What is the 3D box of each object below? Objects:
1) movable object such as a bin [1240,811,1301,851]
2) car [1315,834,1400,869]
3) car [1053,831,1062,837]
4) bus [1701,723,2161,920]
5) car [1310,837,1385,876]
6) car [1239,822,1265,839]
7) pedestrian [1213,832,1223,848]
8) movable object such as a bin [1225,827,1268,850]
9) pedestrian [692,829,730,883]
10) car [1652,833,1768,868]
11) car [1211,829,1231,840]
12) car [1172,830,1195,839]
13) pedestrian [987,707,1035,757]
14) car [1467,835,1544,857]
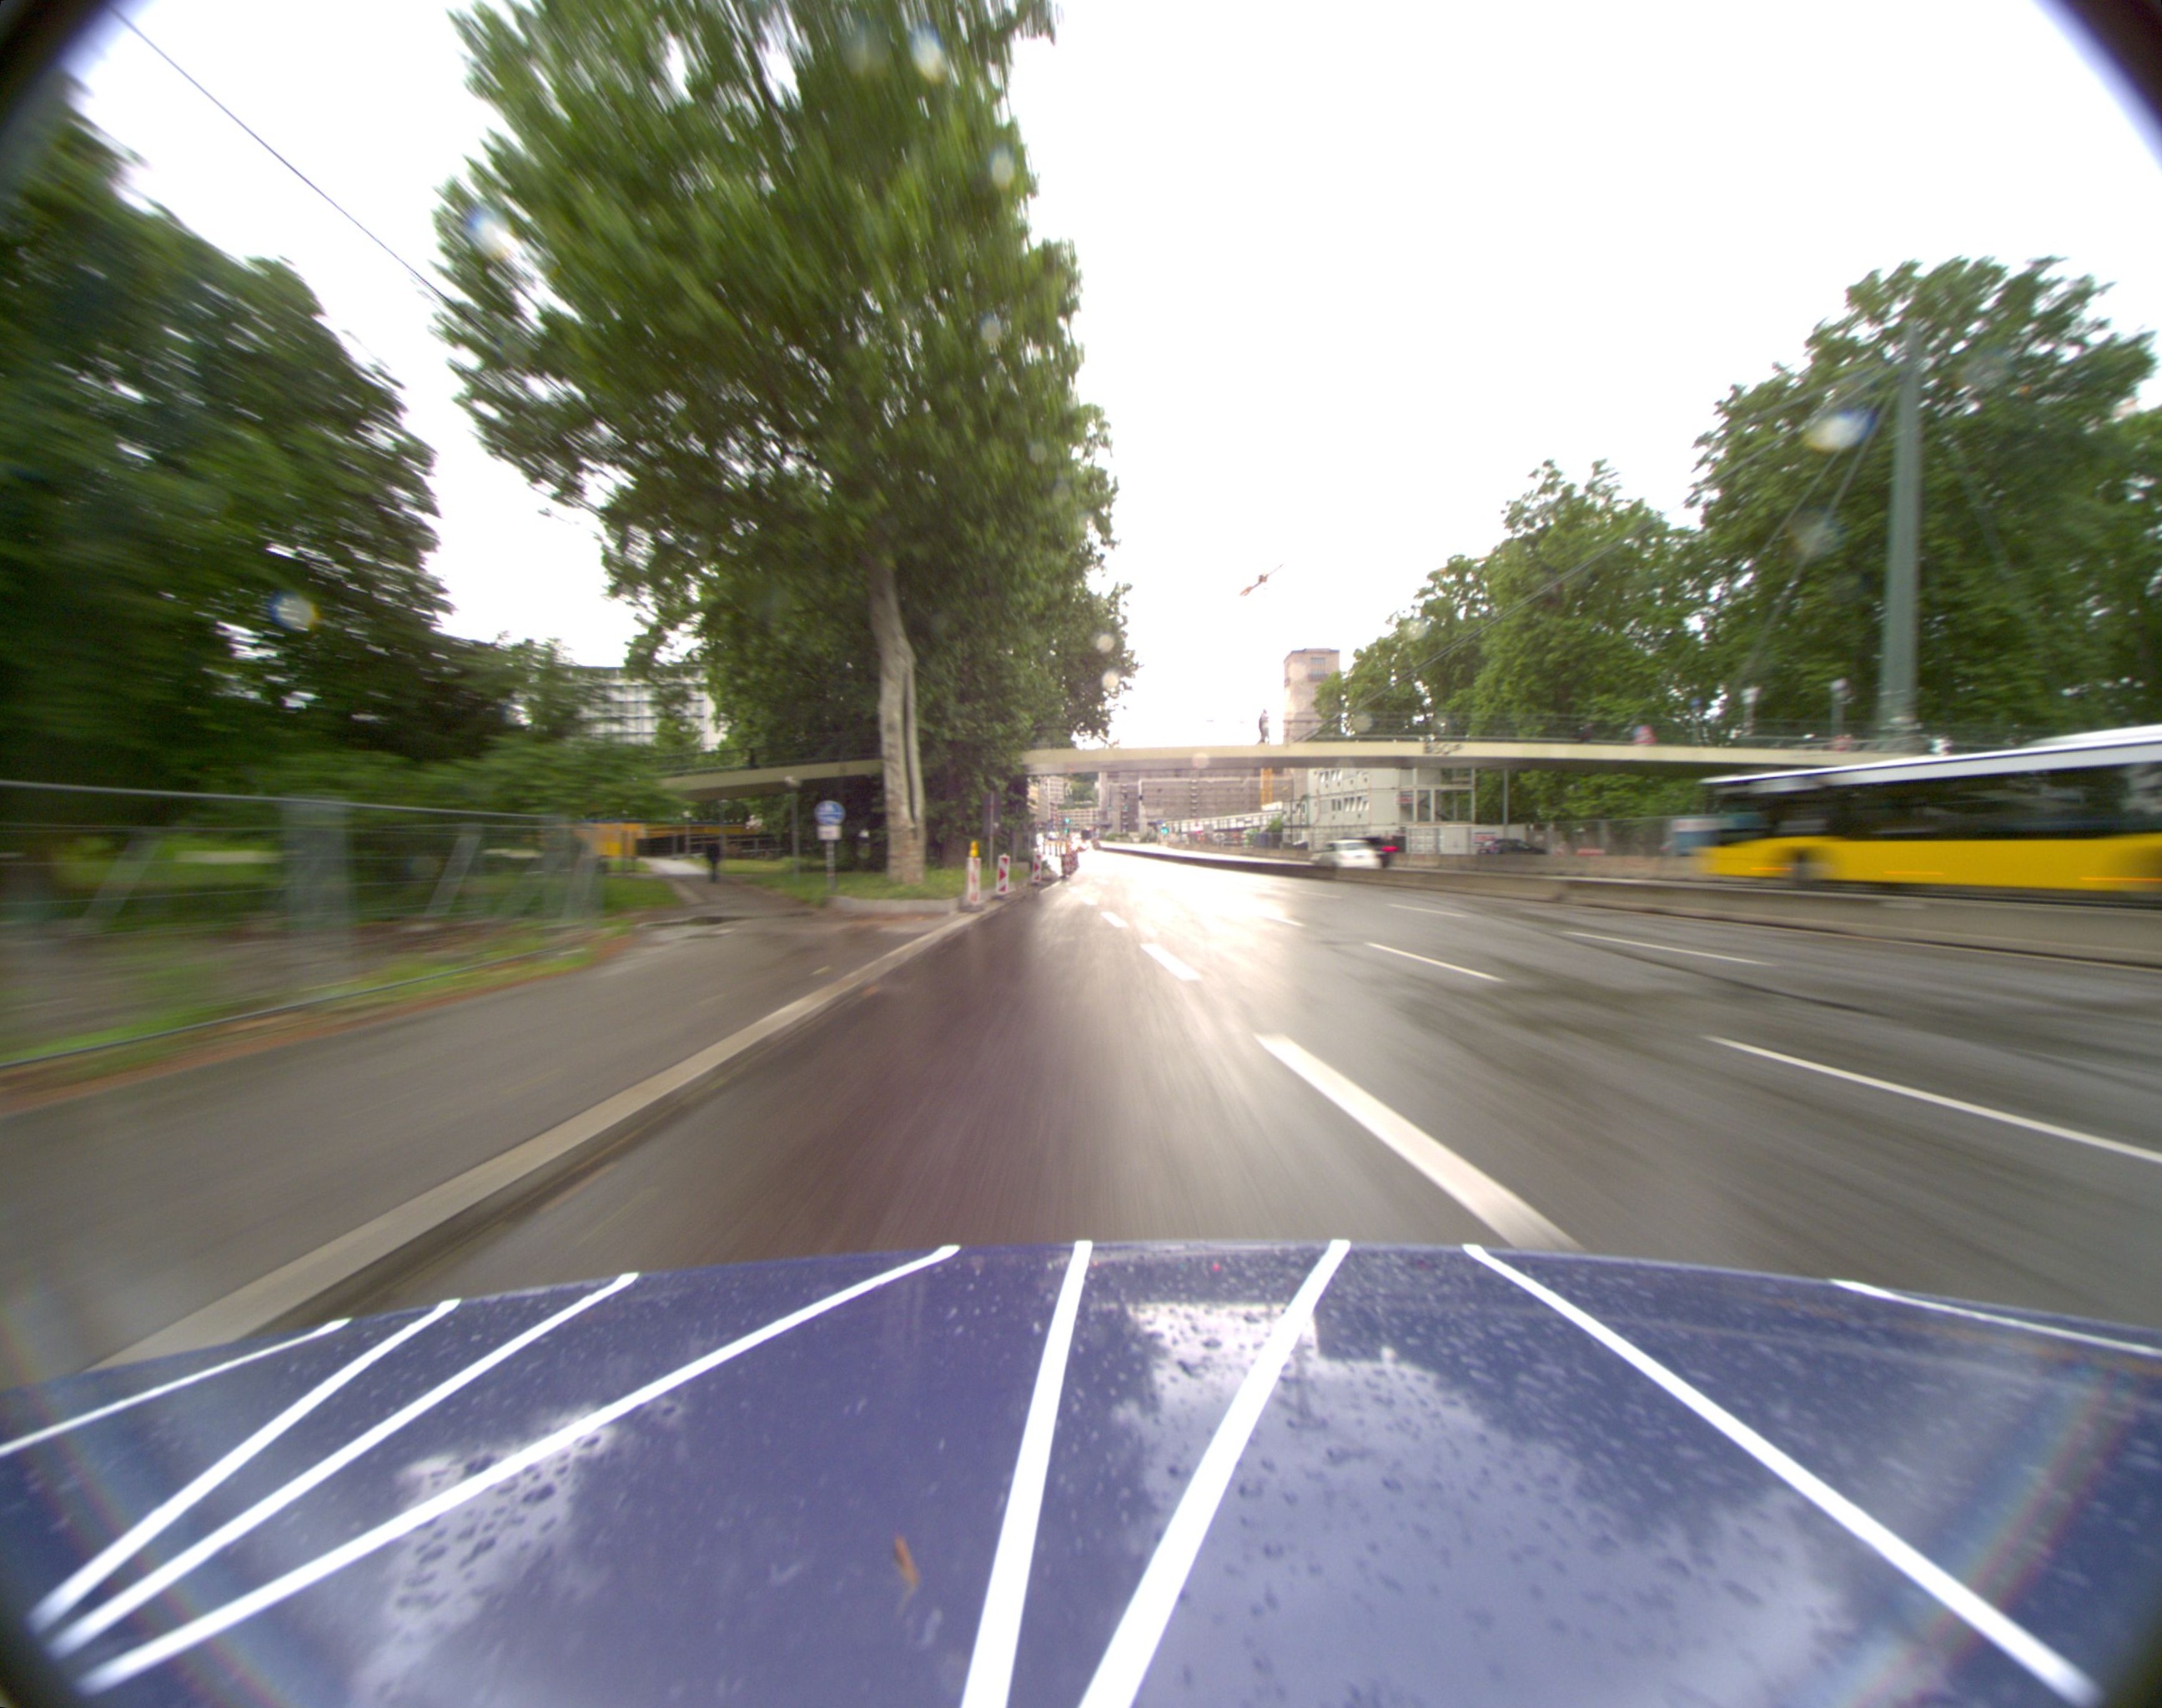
[{"bbox_3d":[23.809,-2.947,96.132,4.765,4.777,8.350,0,2,-7],"label":"movable object such as a bin"},{"bbox_3d":[13.479,-0.133,37.393,2.088,1.621,4.850,0,1,-4],"label":"car"},{"bbox_3d":[-6.112,-5.207,196.541,1.833,1.643,4.569,0,2,-7],"label":"car"},{"bbox_3d":[18.473,-0.604,16.177,2.814,3.166,8.801,0,1,-5],"label":"bus"},{"bbox_3d":[11.147,0.052,32.015,1.714,1.481,3.448,0,2,-4],"label":"car"},{"bbox_3d":[30.395,-4.189,135.303,2.281,3.049,6.162,0,2,-9],"label":"car"},{"bbox_3d":[18.310,-1.896,101.472,1.182,2.003,1.173,-1,3,2],"label":"pedestrian"},{"bbox_3d":[22.815,-2.178,105.135,3.944,3.111,6.381,0,2,-7],"label":"movable object such as a bin"},{"bbox_3d":[-14.177,0.073,29.122,1.054,2.002,1.036,-2,2,-40],"label":"pedestrian"},{"bbox_3d":[29.745,-0.202,35.948,4.439,1.618,1.956,0,2,-14],"label":"car"},{"bbox_3d":[23.060,-3.191,125.528,1.851,1.752,4.792,0,2,-8],"label":"car"},{"bbox_3d":[23.144,-4.331,172.275,2.004,2.002,5.011,-2,2,-43],"label":"car"},{"bbox_3d":[-3.082,-5.351,33.473,1.991,2.003,1.111,-1,3,-2],"label":"pedestrian"},{"bbox_3d":[28.037,-0.556,50.258,3.999,1.436,1.998,0,2,-6],"label":"car"}]
